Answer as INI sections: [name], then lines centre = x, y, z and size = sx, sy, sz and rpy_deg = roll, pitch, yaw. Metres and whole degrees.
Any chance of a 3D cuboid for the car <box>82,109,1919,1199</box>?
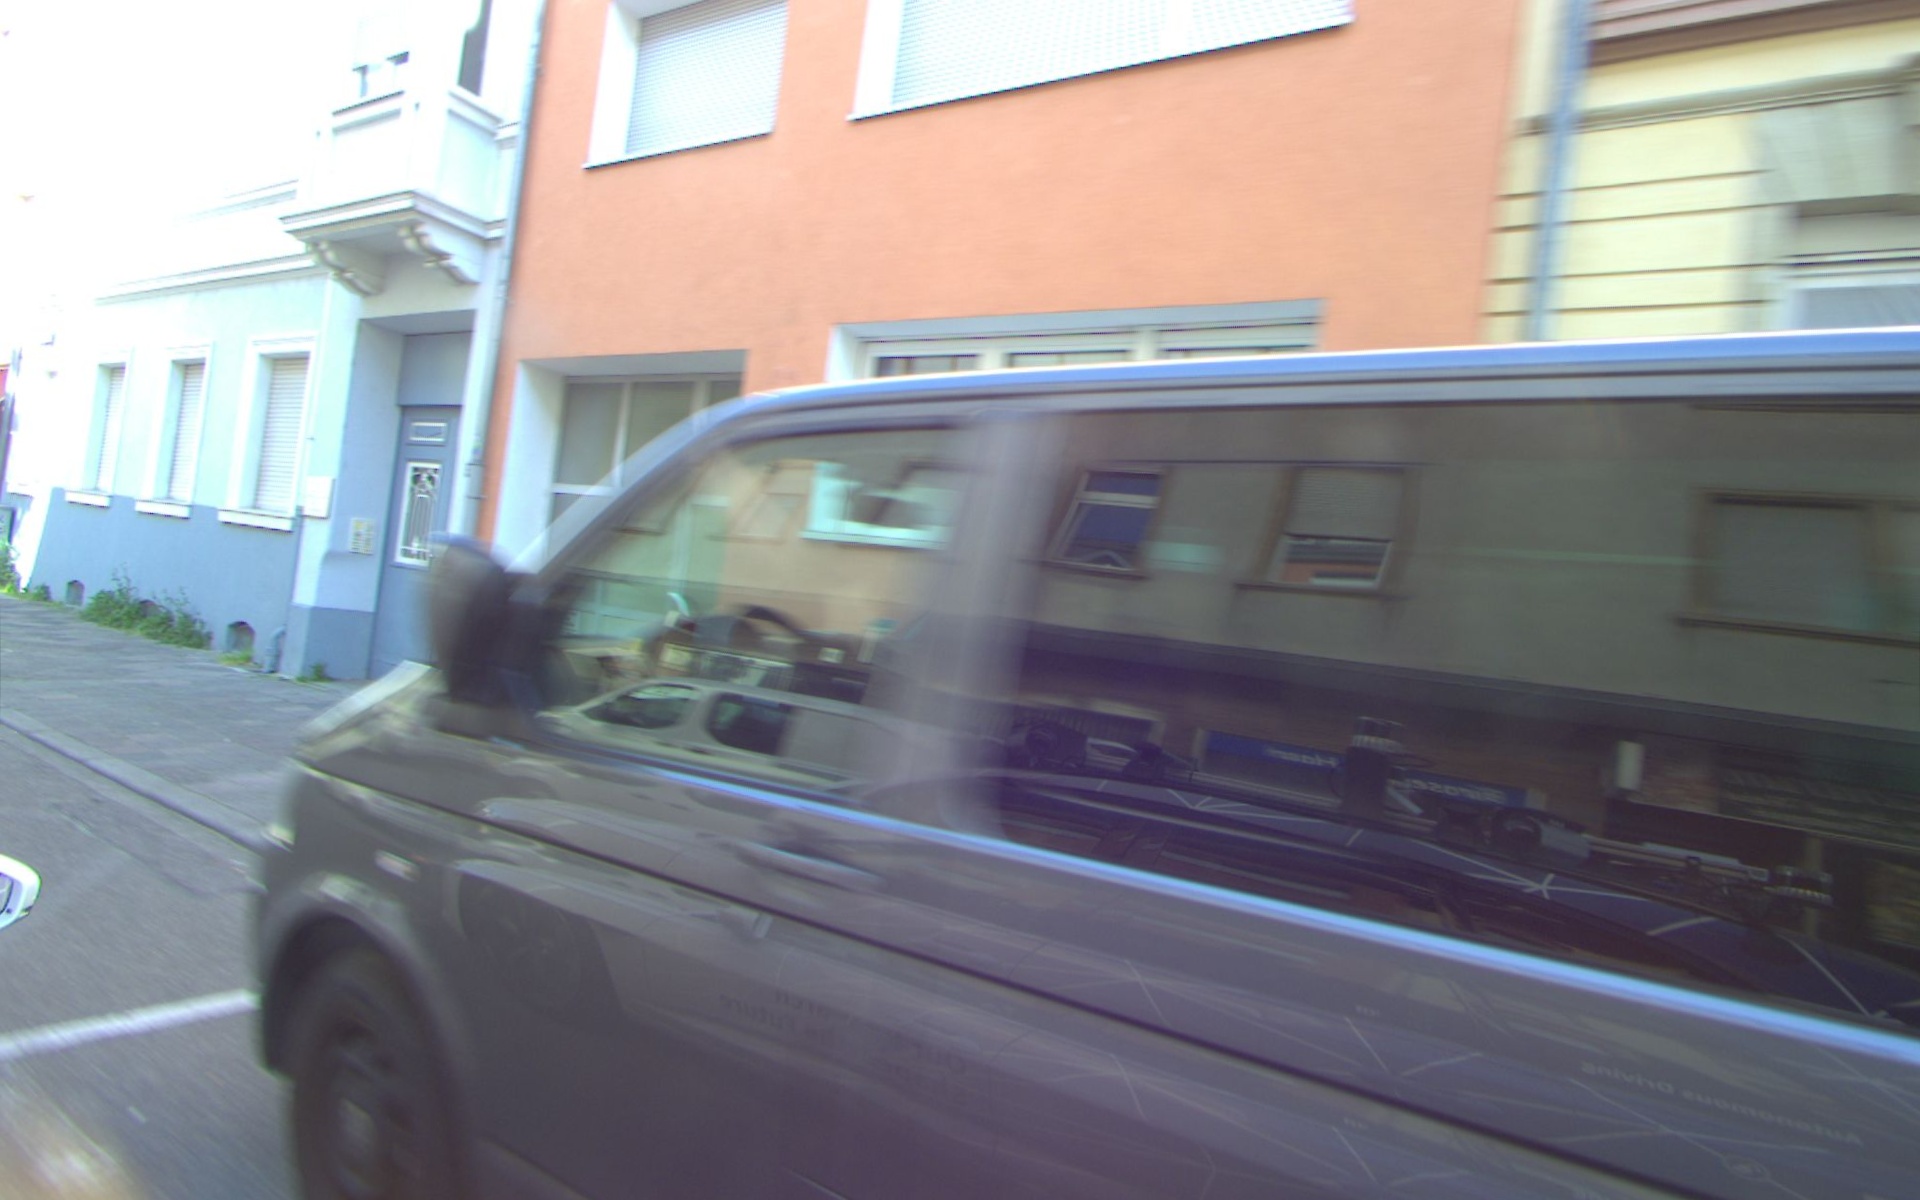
[car]
centre = 0.492, 0.628, 2.117
size = 4.817, 2.051, 1.975
rpy_deg = 7, -3, 31
